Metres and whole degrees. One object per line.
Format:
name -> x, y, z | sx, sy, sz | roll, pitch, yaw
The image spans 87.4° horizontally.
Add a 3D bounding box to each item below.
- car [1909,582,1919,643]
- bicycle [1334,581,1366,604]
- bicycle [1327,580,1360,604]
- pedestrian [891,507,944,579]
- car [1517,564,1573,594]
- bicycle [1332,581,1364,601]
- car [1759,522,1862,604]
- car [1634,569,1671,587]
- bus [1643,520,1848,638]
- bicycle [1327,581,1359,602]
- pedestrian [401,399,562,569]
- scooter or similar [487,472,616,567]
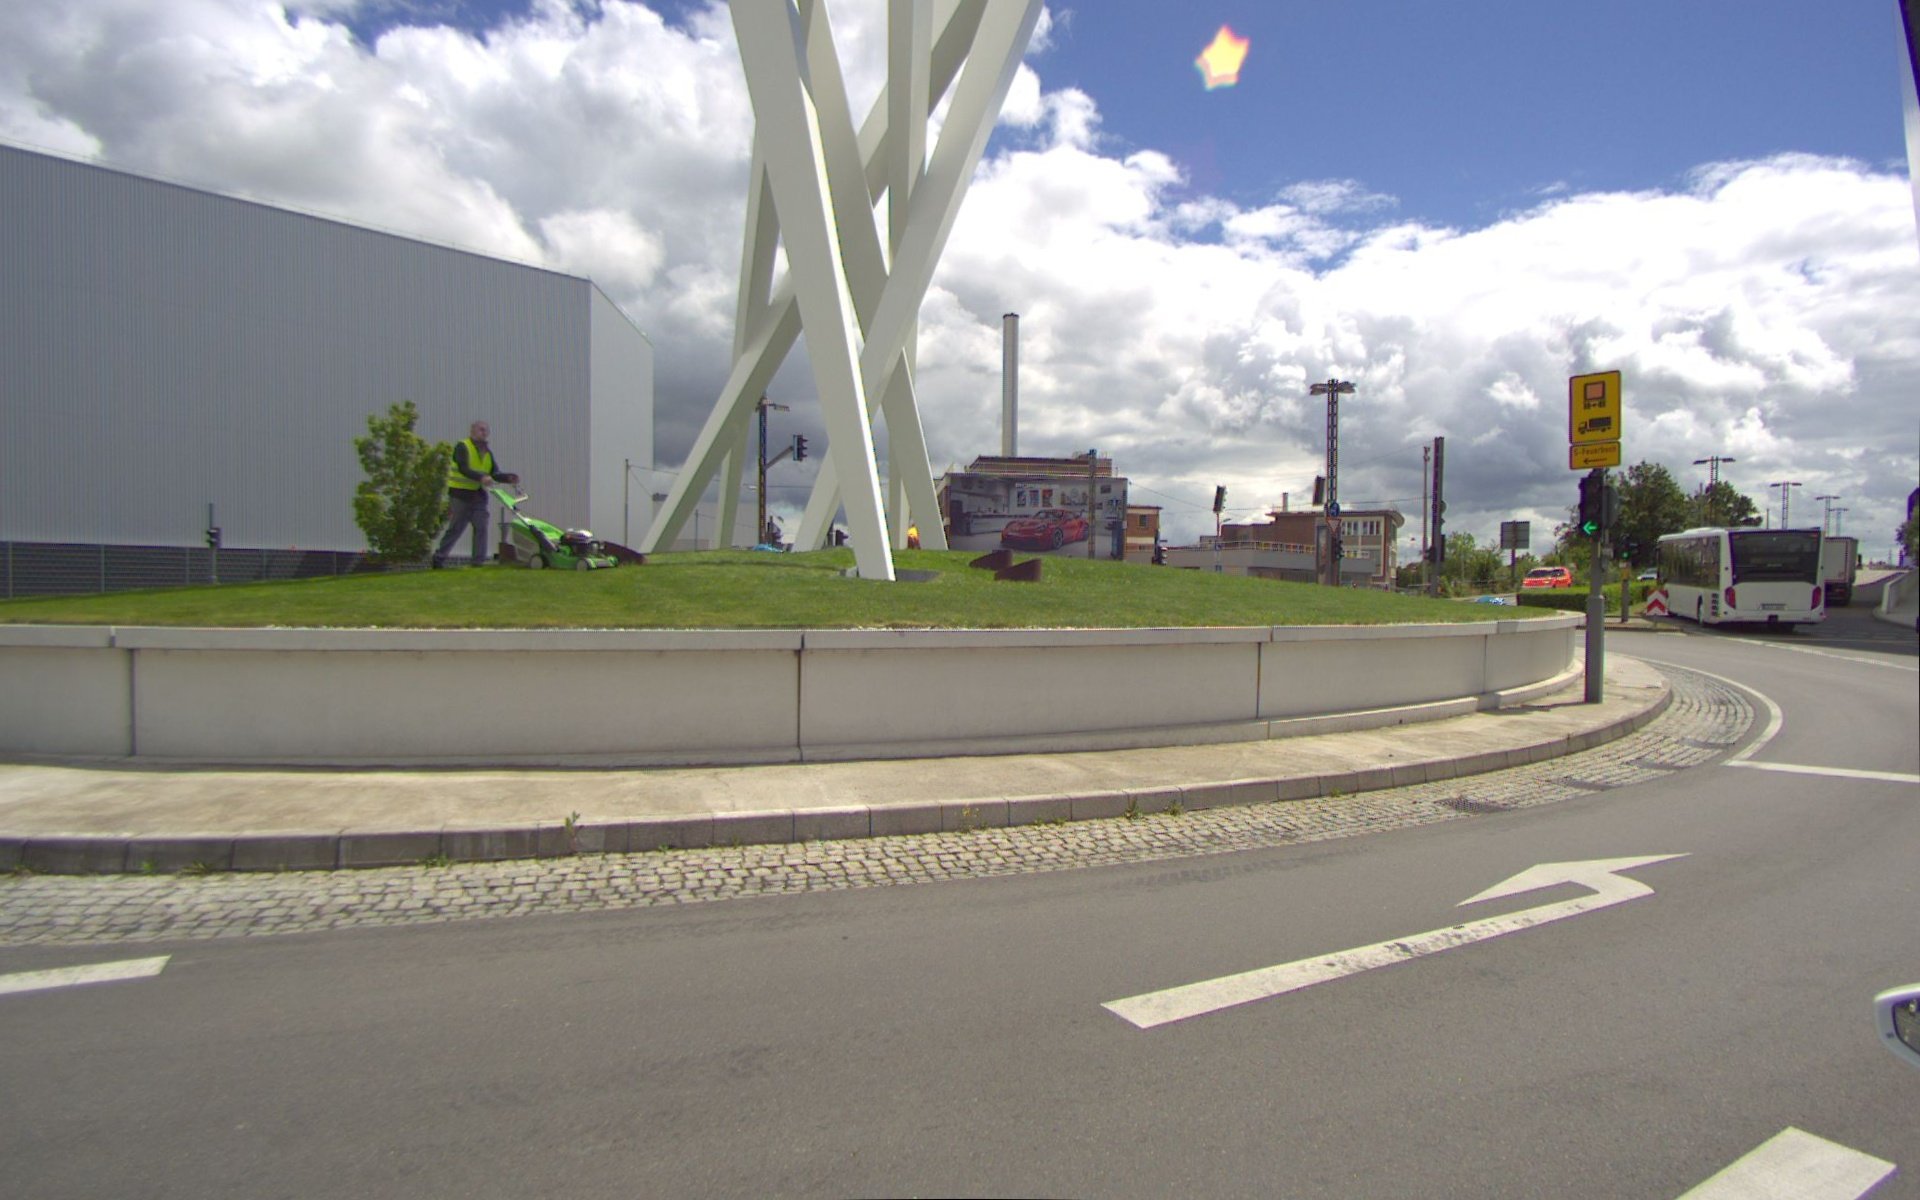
car -> 26.522, 0.373, 25.406 | 1.960, 1.658, 4.001 | 3, 1, 16
bicycle -> 24.516, -0.485, 63.175 | 0.665, 1.399, 1.719 | 1, 1, -45
bicycle -> 23.857, -0.505, 62.477 | 0.665, 1.399, 1.719 | 1, 1, -45
pedestrian -> -0.959, -1.250, 22.310 | 0.951, 1.424, 0.852 | 2, -6, -22
car -> 40.444, -1.418, 69.353 | 4.799, 2.010, 1.976 | -1, 1, -42
bicycle -> 24.685, -0.583, 63.952 | 1.719, 1.198, 0.665 | 3, 3, 45
car -> 42.391, -1.734, 49.935 | 3.299, 3.551, 9.287 | 3, 1, 43
car -> 59.420, -1.935, 86.153 | 4.641, 1.417, 1.738 | -3, 4, -44
bus -> 27.099, -0.893, 35.477 | 3.024, 3.408, 12.207 | 3, 3, 26
bicycle -> 24.139, -0.547, 63.342 | 1.718, 1.198, 0.666 | 3, 7, 43
pedestrian -> -5.630, -1.348, 11.851 | 1.263, 1.842, 0.984 | -1, 7, 29
scooter or similar -> -4.686, -0.923, 11.525 | 1.378, 1.040, 0.549 | 2, 7, 27
